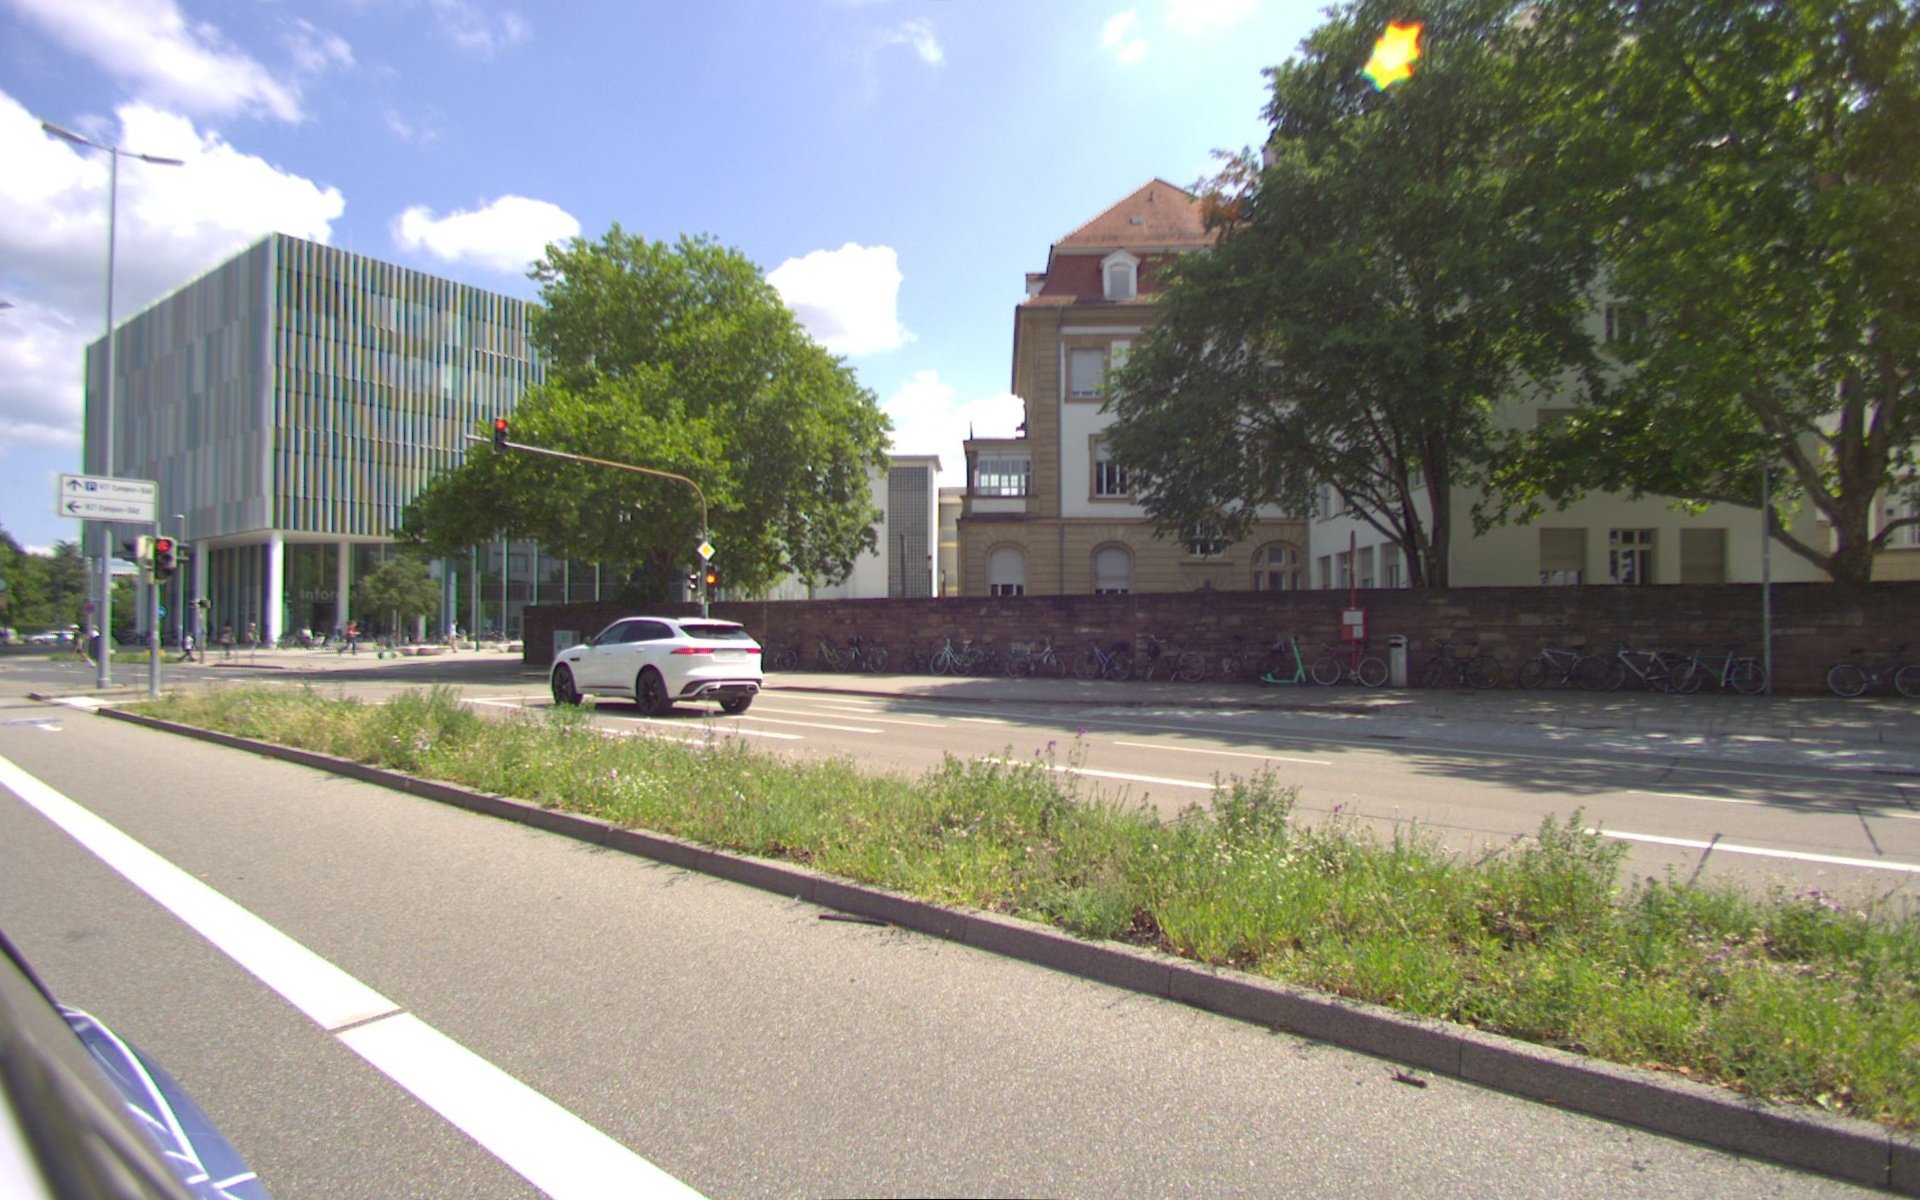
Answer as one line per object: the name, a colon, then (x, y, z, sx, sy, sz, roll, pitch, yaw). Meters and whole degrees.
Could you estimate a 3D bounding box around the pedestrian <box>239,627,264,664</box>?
pedestrian: (-38.177, 2.444, 54.535, 0.955, 1.940, 0.882, 0, -2, -24)

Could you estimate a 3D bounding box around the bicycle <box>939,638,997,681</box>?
bicycle: (0.226, 1.665, 28.361, 1.580, 1.161, 0.400, -1, -2, 17)

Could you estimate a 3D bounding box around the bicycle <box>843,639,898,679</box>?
bicycle: (-2.678, 1.749, 30.251, 1.588, 1.161, 0.616, -2, -2, 31)

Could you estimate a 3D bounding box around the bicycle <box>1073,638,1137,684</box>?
bicycle: (3.745, 1.577, 26.216, 1.587, 1.161, 0.399, -1, -2, 28)

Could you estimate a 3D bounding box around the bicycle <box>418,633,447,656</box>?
bicycle: (-35.930, 3.023, 69.024, 0.983, 1.564, 3.424, 0, -2, -14)

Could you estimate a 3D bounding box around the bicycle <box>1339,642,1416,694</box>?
bicycle: (9.474, 1.528, 22.989, 1.586, 1.151, 0.429, -1, -2, 28)

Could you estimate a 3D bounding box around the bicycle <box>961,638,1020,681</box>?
bicycle: (0.838, 1.618, 27.702, 1.575, 1.161, 0.402, -1, -2, 7)

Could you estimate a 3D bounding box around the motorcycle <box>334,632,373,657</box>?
motorcycle: (-41.104, 3.013, 68.646, 0.956, 1.652, 3.302, 0, -2, -6)

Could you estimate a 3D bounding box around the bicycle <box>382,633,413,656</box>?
bicycle: (-38.312, 3.006, 68.932, 0.983, 1.564, 3.424, 0, -2, -14)

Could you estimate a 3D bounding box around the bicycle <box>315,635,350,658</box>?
bicycle: (-42.435, 3.111, 68.500, 0.918, 1.505, 2.691, 0, -1, -6)

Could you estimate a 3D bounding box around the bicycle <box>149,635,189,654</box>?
bicycle: (-65.070, 3.622, 83.253, 0.620, 1.506, 2.480, -2, -2, 39)

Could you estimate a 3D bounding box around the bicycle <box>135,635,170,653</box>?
bicycle: (-67.133, 3.633, 84.189, 0.620, 1.506, 2.172, -2, -2, 39)

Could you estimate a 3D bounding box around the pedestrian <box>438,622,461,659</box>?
pedestrian: (-27.319, 2.142, 54.151, 1.090, 1.940, 0.975, 0, -2, -26)

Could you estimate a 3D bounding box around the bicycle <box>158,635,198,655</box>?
bicycle: (-61.800, 3.566, 80.008, 0.620, 1.506, 2.421, -2, -2, 39)

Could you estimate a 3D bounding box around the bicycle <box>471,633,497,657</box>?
bicycle: (-32.381, 3.038, 68.930, 0.983, 1.564, 3.424, 0, -2, -14)

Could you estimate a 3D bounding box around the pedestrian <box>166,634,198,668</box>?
pedestrian: (-38.623, 2.522, 50.260, 0.957, 1.641, 0.880, 0, -2, -7)

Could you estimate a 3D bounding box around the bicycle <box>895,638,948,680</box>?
bicycle: (-1.119, 1.699, 29.344, 1.590, 1.161, 0.409, -2, -2, 34)

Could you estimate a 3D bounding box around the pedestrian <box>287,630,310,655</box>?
pedestrian: (-45.157, 2.906, 69.127, 0.997, 1.720, 1.214, 0, -2, -17)

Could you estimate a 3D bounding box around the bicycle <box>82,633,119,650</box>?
bicycle: (-78.731, 3.767, 92.732, 0.620, 1.506, 2.480, -2, -2, 39)

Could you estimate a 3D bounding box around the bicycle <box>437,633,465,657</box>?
bicycle: (-34.598, 3.024, 68.792, 0.983, 1.564, 3.424, 0, -2, -14)

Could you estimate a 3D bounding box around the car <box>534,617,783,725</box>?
car: (-5.493, 1.187, 18.129, 4.772, 1.680, 2.049, -2, -2, 41)

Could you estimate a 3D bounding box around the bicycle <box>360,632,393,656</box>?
bicycle: (-39.668, 2.997, 68.898, 1.034, 1.564, 3.424, 0, -2, -14)

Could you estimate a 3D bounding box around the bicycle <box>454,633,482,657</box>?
bicycle: (-33.492, 3.033, 68.948, 0.983, 1.564, 3.424, 0, -2, -14)

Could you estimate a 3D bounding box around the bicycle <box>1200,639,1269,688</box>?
bicycle: (6.614, 1.523, 24.382, 1.581, 1.161, 0.531, -1, -2, 18)

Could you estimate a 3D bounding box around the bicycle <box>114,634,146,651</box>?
bicycle: (-72.169, 3.694, 88.027, 0.620, 1.506, 2.045, -2, -2, 39)

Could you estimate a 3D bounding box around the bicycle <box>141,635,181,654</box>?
bicycle: (-64.834, 3.598, 82.112, 0.620, 1.506, 2.480, -2, -2, 39)

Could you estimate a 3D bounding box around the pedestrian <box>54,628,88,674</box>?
pedestrian: (-38.591, 2.205, 43.944, 1.092, 1.940, 0.973, 1, -2, -41)

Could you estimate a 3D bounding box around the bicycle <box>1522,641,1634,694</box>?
bicycle: (12.838, 1.397, 21.086, 1.940, 1.055, 0.540, -1, -2, 28)

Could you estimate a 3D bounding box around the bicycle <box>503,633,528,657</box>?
bicycle: (-29.931, 3.005, 68.219, 0.983, 1.564, 3.424, 0, -2, -14)

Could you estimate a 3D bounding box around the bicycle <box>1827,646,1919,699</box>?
bicycle: (17.128, 1.324, 18.636, 1.657, 0.956, 0.540, -1, -2, 28)

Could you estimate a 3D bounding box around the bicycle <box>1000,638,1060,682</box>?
bicycle: (1.887, 1.609, 27.088, 1.575, 1.161, 0.402, -1, -2, 7)

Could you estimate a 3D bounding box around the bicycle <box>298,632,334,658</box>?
bicycle: (-43.475, 3.019, 68.376, 0.797, 1.656, 3.421, 0, -2, -9)

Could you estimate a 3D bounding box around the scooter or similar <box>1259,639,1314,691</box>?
scooter or similar: (7.498, 1.487, 23.275, 1.183, 1.161, 0.430, -1, -2, 19)

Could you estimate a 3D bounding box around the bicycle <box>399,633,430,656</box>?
bicycle: (-37.152, 3.012, 68.973, 0.983, 1.564, 3.424, 0, -2, -14)

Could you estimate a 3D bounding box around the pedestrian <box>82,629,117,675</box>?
pedestrian: (-37.074, 2.230, 43.623, 1.091, 1.940, 0.974, 1, -2, -38)

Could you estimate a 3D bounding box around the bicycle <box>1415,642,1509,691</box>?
bicycle: (10.974, 1.439, 22.143, 1.795, 1.016, 0.477, -1, -2, 31)

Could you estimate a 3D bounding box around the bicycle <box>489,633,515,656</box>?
bicycle: (-31.284, 3.023, 69.179, 0.983, 1.564, 3.424, 0, -2, -14)

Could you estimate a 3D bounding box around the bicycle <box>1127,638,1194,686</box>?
bicycle: (4.974, 1.531, 25.115, 1.581, 1.161, 0.531, -1, -2, 18)

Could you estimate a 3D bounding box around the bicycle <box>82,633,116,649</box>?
bicycle: (-79.666, 3.783, 93.621, 0.656, 1.506, 2.274, -2, -2, 39)

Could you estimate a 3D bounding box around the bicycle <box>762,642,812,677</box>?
bicycle: (-5.492, 1.875, 32.086, 1.588, 1.107, 0.567, -2, -2, 32)

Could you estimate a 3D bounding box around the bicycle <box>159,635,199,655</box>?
bicycle: (-62.400, 3.581, 80.866, 2.474, 1.506, 0.731, 1, -2, -41)

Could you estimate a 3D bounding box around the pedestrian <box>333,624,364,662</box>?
pedestrian: (-32.206, 2.262, 53.281, 0.970, 1.940, 1.096, -1, -2, 35)

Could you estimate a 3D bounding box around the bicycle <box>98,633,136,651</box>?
bicycle: (-74.407, 3.713, 89.329, 0.620, 1.506, 2.480, -2, -2, 39)

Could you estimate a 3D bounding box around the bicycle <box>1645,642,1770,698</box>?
bicycle: (14.712, 1.356, 19.982, 1.886, 1.055, 0.540, -1, -2, 28)

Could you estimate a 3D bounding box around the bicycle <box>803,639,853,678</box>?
bicycle: (-4.084, 1.796, 31.233, 1.588, 1.161, 0.495, -2, -2, 32)

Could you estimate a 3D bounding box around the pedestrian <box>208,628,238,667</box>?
pedestrian: (-38.027, 2.444, 52.238, 0.956, 1.940, 0.880, 0, -2, -8)
